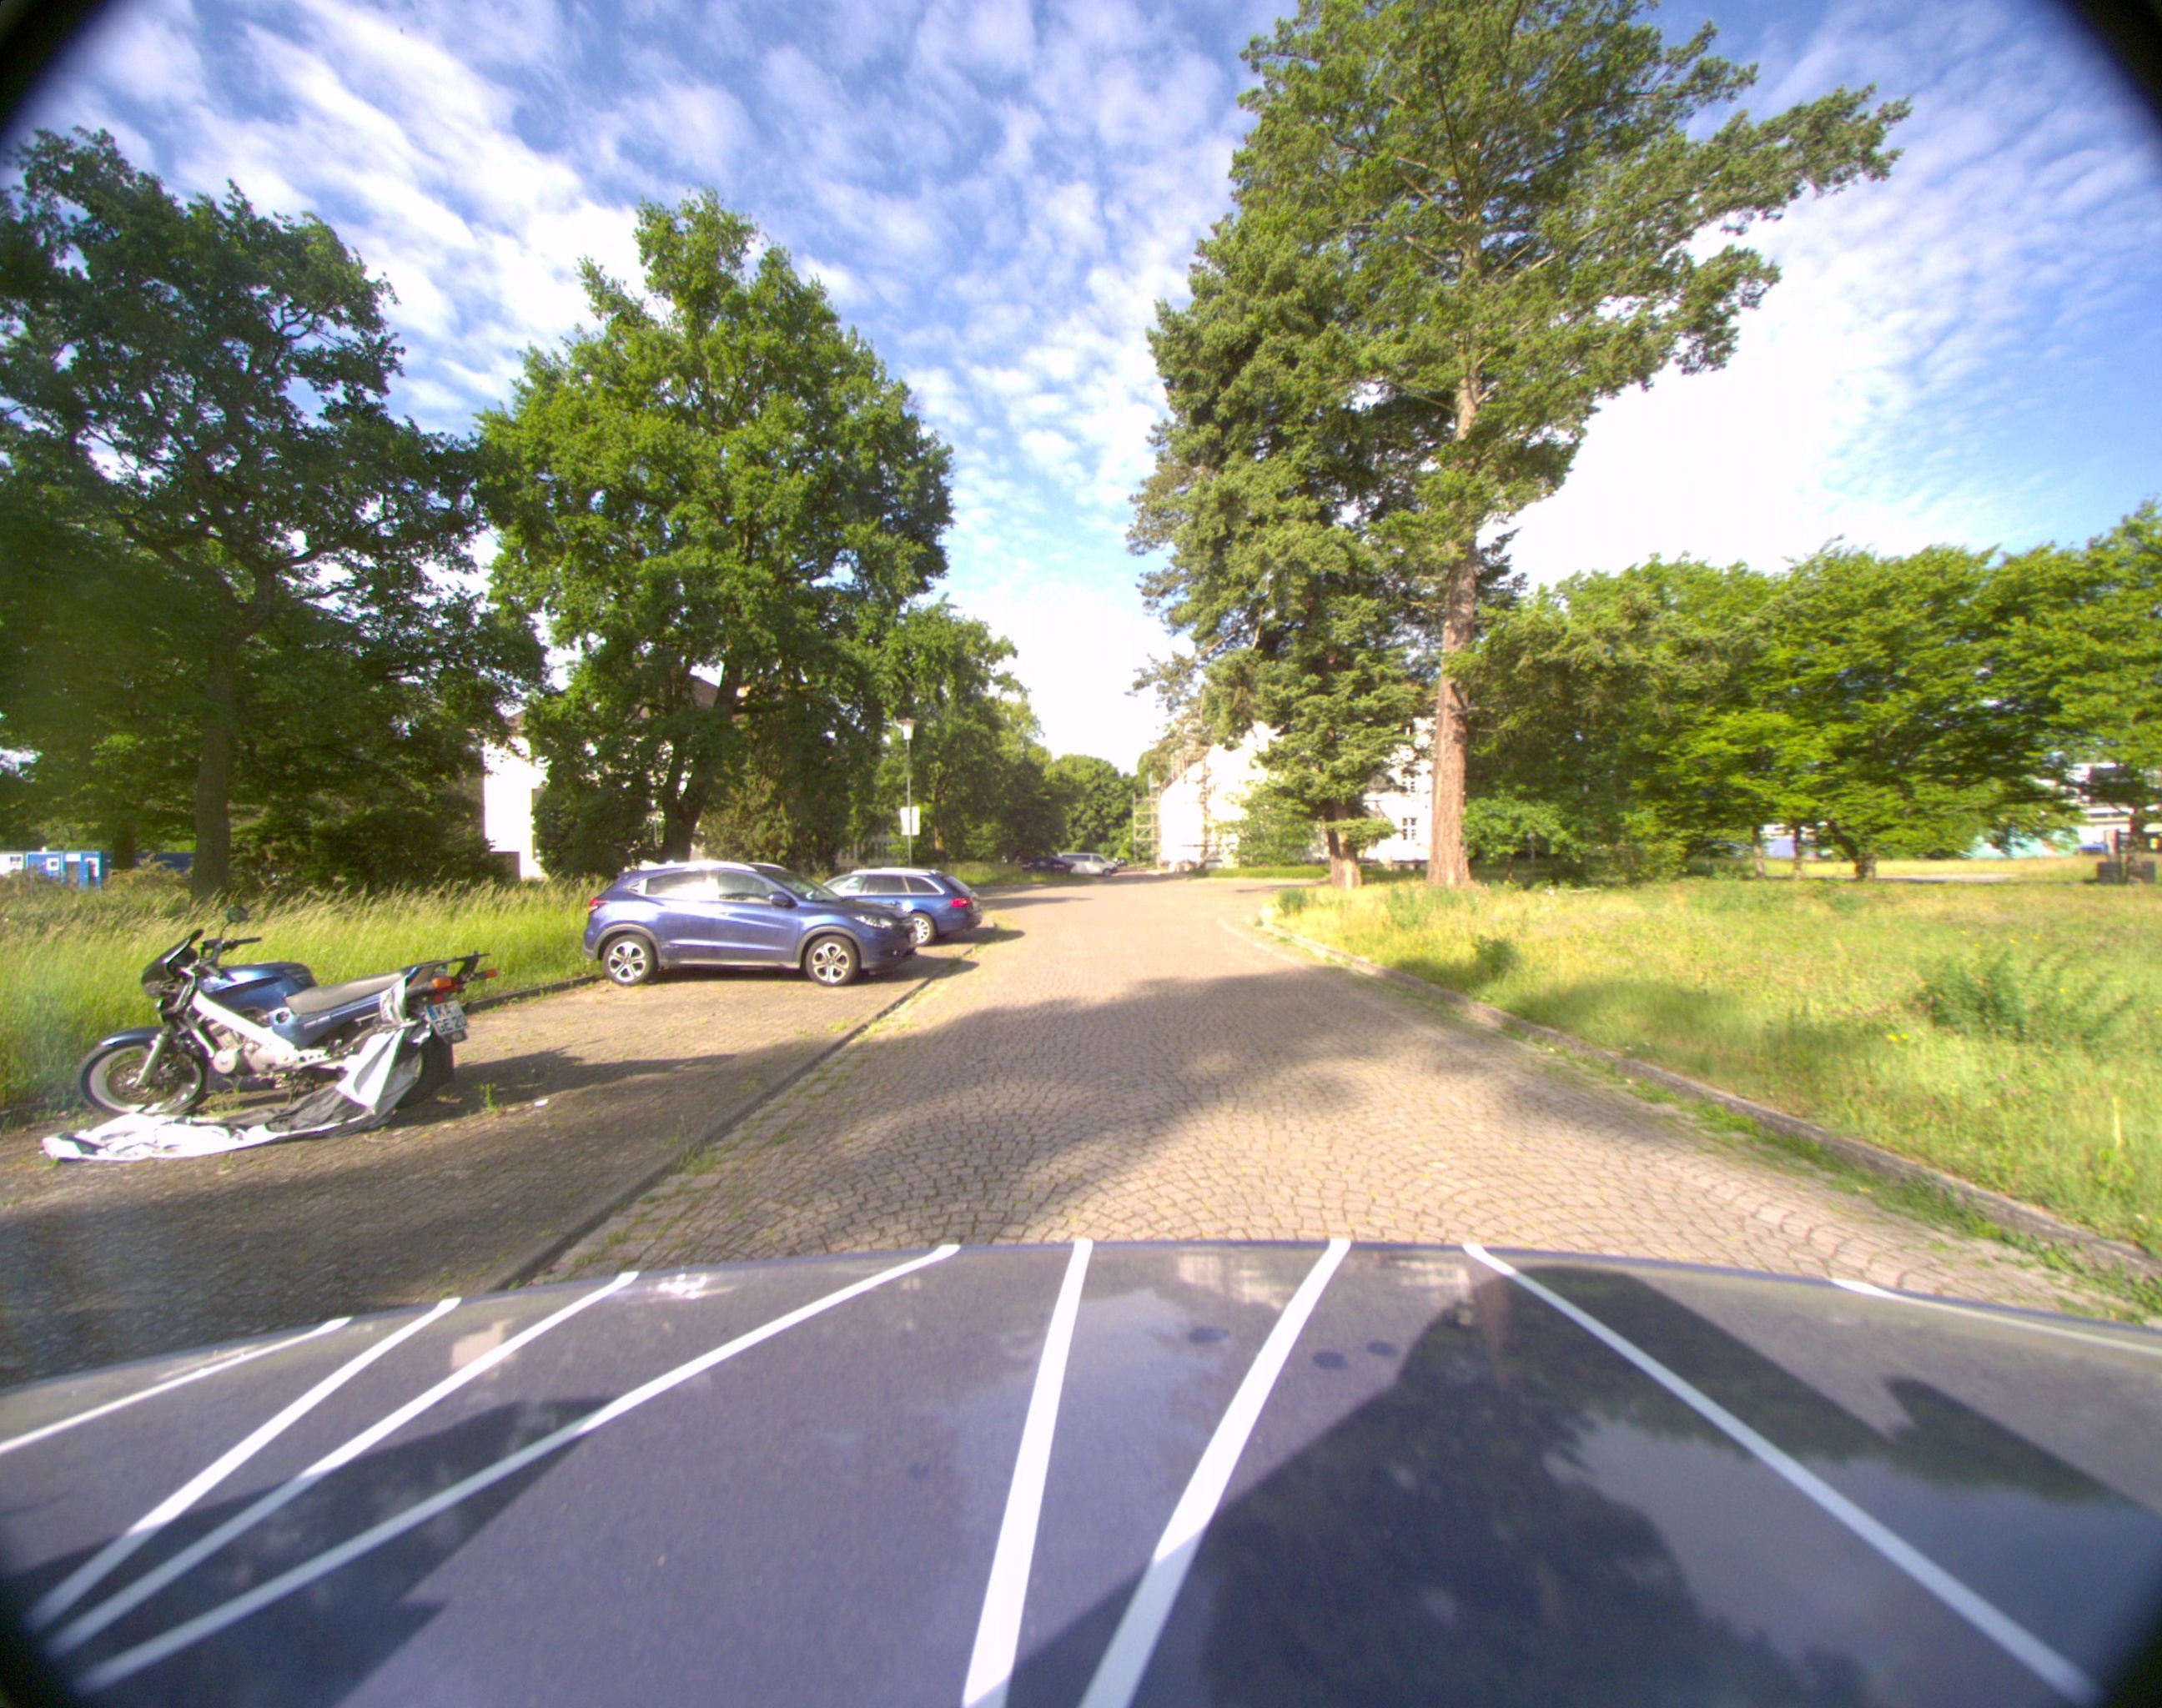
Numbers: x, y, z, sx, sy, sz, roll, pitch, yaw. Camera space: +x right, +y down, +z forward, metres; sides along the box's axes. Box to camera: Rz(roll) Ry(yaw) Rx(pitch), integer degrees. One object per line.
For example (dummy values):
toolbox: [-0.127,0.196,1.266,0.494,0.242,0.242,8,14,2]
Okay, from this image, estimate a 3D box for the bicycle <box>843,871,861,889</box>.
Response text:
bicycle: [-13.294,1.482,44.136,0.619,1.010,1.027,-1,0,4]

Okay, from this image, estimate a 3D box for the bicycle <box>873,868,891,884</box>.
bicycle: [-12.737,1.403,48.622,0.712,1.010,1.024,-1,0,-36]

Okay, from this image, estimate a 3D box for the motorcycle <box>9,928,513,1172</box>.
motorcycle: [-4.905,1.143,4.655,2.305,1.312,0.726,0,0,1]

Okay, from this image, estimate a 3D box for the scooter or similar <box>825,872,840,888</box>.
scooter or similar: [-14.238,1.498,43.480,0.769,0.924,0.261,-1,1,-5]

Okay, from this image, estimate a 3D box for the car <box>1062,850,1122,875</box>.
car: [0.919,0.702,63.874,4.936,2.002,2.000,-1,0,1]

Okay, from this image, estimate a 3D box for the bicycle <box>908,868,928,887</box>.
bicycle: [-9.392,1.356,43.773,0.710,1.010,1.257,-1,0,8]

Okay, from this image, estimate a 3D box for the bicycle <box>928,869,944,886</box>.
bicycle: [-8.425,1.382,44.163,0.747,0.929,1.140,-1,0,-2]

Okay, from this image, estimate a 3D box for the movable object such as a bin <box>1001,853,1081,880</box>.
movable object such as a bin: [-2.684,0.836,50.933,4.931,1.749,2.002,-1,0,16]

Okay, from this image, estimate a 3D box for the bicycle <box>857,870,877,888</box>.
bicycle: [-12.525,1.465,44.497,0.710,1.010,1.028,-1,0,8]

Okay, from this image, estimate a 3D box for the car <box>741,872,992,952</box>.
car: [-4.134,1.105,15.080,4.459,1.399,1.714,1,0,4]

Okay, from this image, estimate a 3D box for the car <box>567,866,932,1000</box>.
car: [-4.325,1.007,10.386,4.187,1.581,1.751,-1,0,1]
